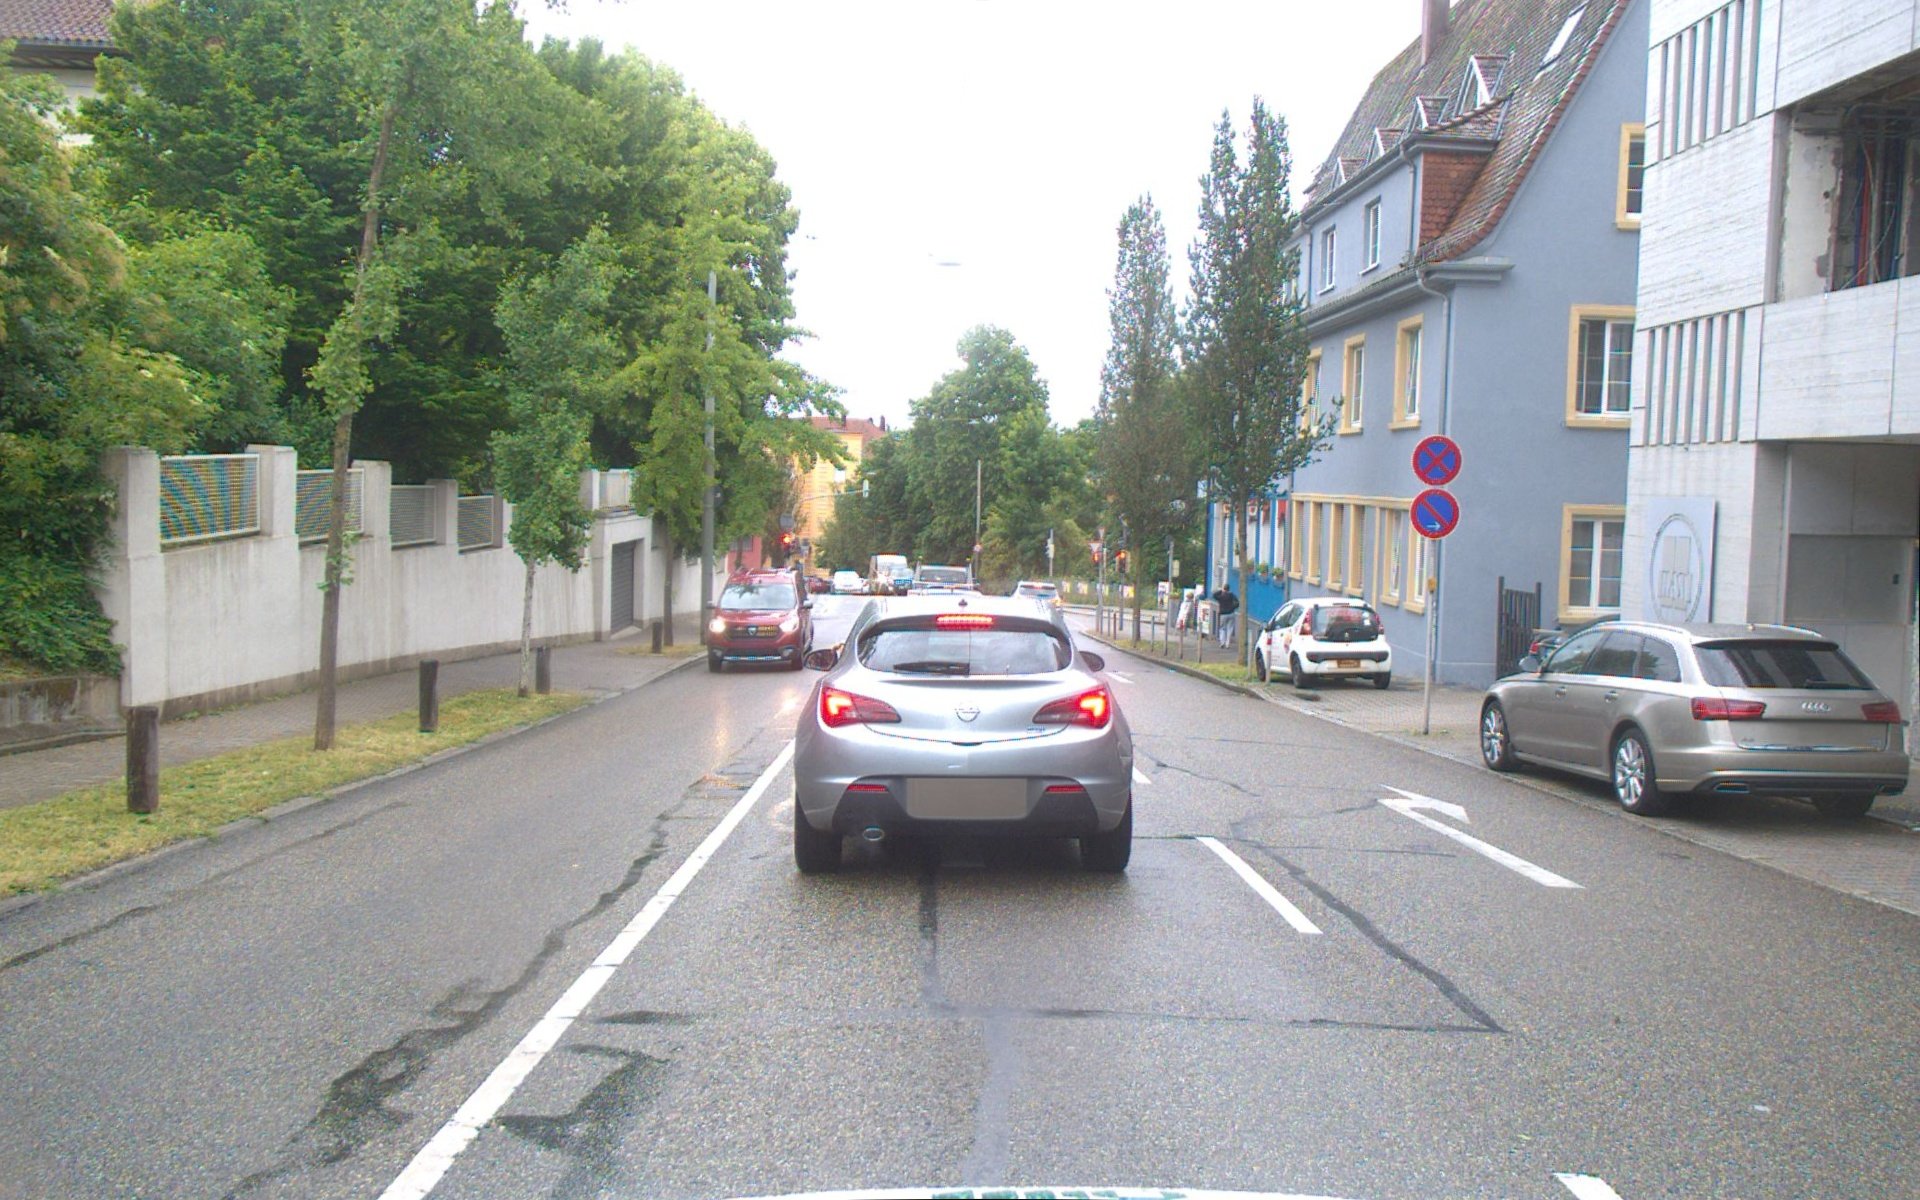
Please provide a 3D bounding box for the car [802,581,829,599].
[{"bbox_3d":[-13.786,-0.959,157.897,1.696,1.666,3.859,0,0,-18],"label":"car"}]

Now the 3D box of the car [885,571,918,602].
[{"bbox_3d":[-3.259,-0.751,92.556,1.833,1.666,3.878,0,0,-2],"label":"car"}]

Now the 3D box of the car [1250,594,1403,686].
[{"bbox_3d":[6.289,0.646,28.780,1.688,1.473,3.878,0,0,-2],"label":"car"}]

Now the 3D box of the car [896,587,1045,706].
[{"bbox_3d":[0.065,0.597,24.047,1.922,1.473,4.304,2,1,-2],"label":"car"}]

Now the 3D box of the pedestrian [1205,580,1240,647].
[{"bbox_3d":[7.127,0.361,44.972,0.767,1.759,0.650,2,0,-1],"label":"pedestrian"}]

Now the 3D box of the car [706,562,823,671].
[{"bbox_3d":[-3.568,0.284,30.857,1.711,1.860,4.458,-1,0,-1],"label":"car"}]

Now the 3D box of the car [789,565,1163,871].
[{"bbox_3d":[-0.003,0.564,9.987,1.800,1.459,3.878,1,0,-3],"label":"car"}]

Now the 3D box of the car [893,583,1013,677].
[{"bbox_3d":[-0.178,0.471,29.423,1.922,1.473,4.304,2,1,-2],"label":"car"}]

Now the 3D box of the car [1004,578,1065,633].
[{"bbox_3d":[2.450,0.162,55.154,1.688,1.744,3.878,0,0,-3],"label":"car"}]

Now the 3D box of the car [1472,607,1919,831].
[{"bbox_3d":[6.055,0.853,13.895,1.923,1.473,4.524,1,1,-3],"label":"car"}]

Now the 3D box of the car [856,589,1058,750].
[{"bbox_3d":[-0.099,0.670,18.323,1.922,1.473,4.304,2,1,-2],"label":"car"}]

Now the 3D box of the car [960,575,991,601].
[{"bbox_3d":[0.994,-0.784,108.914,1.689,1.666,3.876,0,0,-4],"label":"car"}]

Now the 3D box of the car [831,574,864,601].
[{"bbox_3d":[-6.315,-0.706,93.263,1.688,1.485,3.878,0,0,-2],"label":"car"}]

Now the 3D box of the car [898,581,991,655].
[{"bbox_3d":[-0.396,0.360,37.081,1.922,1.473,4.304,2,1,-2],"label":"car"}]

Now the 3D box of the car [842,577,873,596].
[{"bbox_3d":[-8.623,-1.176,139.210,1.696,1.570,3.859,0,0,-18],"label":"car"}]

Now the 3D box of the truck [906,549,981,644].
[{"bbox_3d":[-0.515,-0.122,47.079,1.922,2.471,4.934,2,1,-2],"label":"truck"}]

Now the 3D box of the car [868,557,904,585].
[{"bbox_3d":[-4.492,-1.755,100.174,1.691,1.666,3.871,0,0,-9],"label":"car"}]
